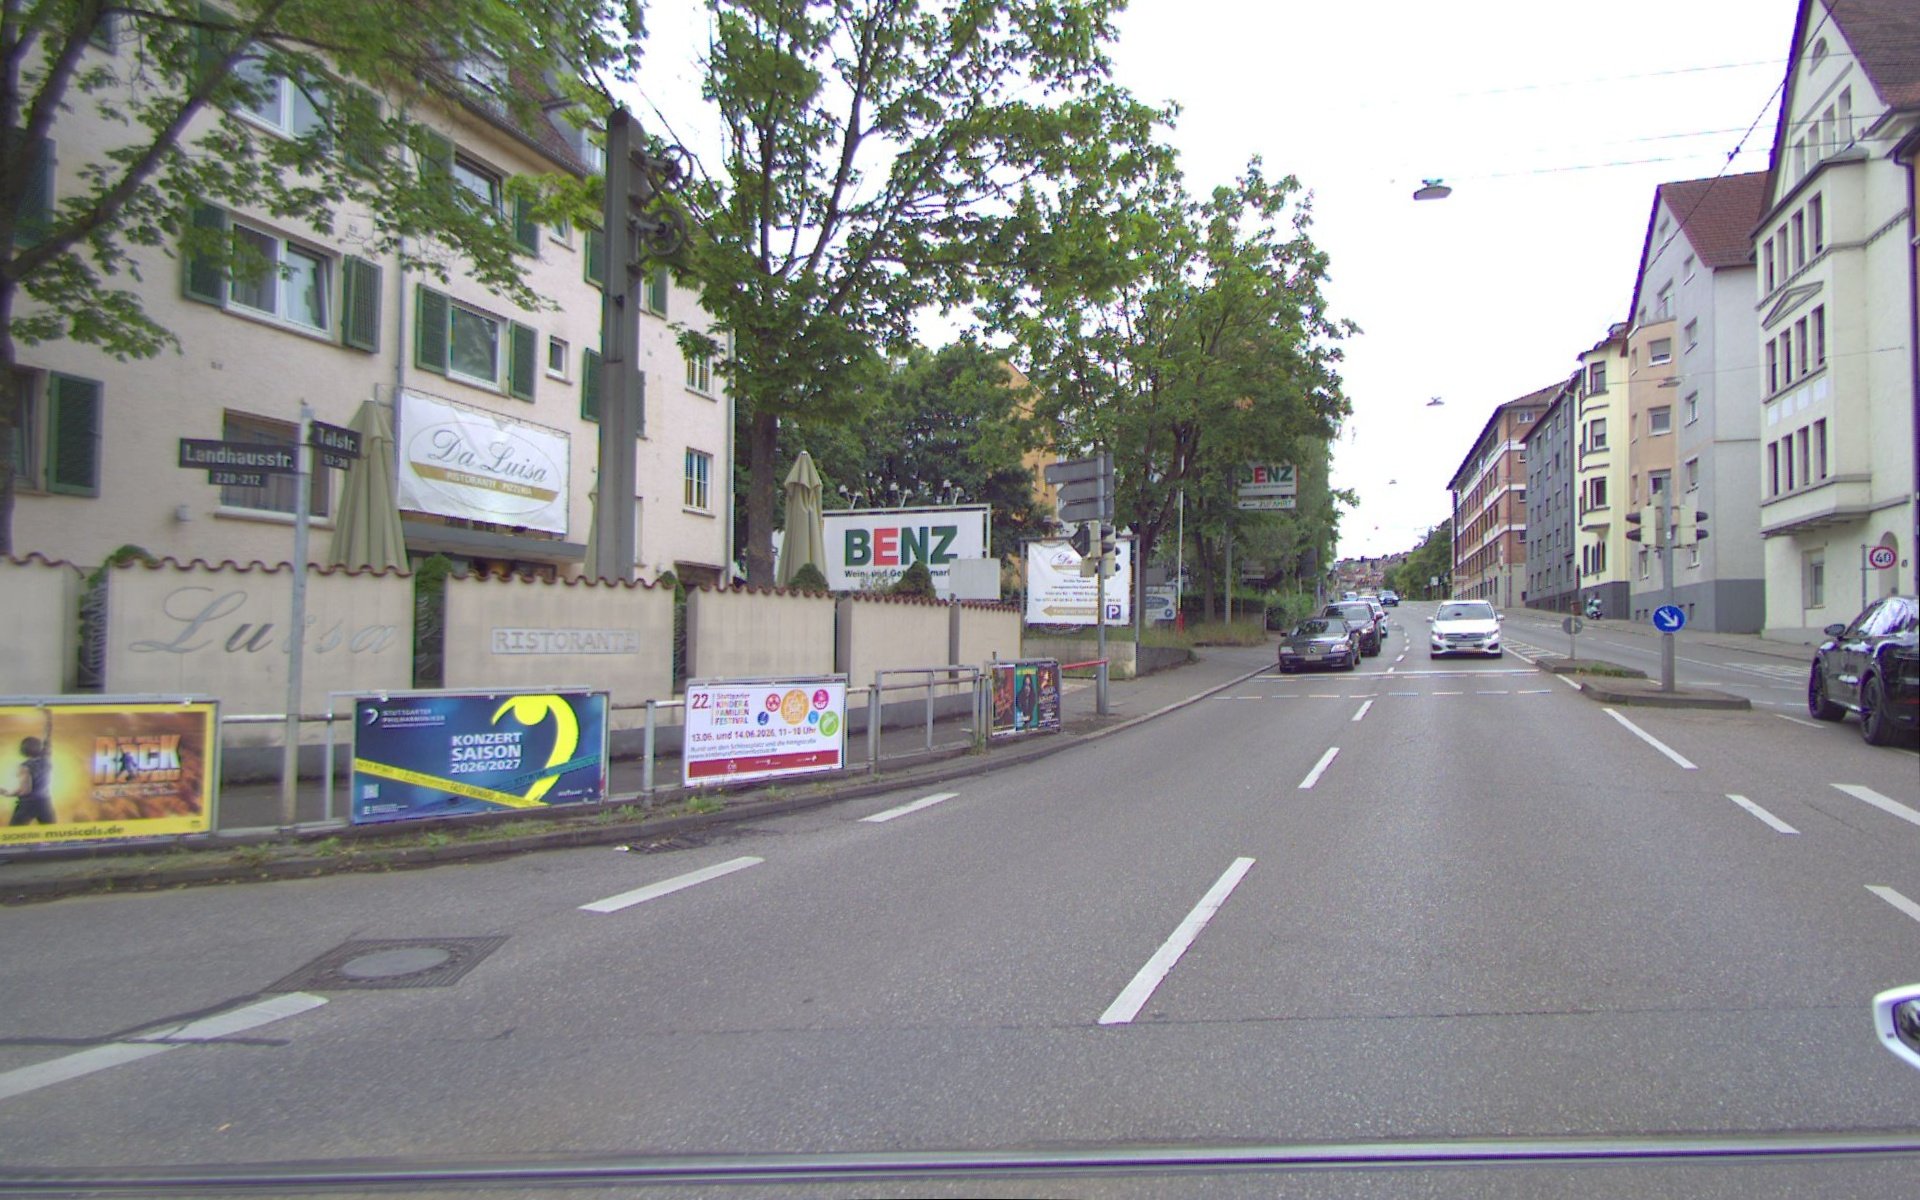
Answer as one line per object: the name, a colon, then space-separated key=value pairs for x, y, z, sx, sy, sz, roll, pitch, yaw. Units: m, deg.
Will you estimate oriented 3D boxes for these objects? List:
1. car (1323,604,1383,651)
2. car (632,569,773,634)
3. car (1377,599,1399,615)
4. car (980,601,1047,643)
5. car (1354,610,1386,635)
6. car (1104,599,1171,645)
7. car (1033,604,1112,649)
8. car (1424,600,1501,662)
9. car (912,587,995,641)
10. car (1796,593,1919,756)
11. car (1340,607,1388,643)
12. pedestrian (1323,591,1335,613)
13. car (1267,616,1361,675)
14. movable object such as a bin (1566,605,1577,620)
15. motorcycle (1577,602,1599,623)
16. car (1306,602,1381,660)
car: x=15.259 y=1.030 z=38.896 sx=1.921 sy=1.614 sz=4.495 roll=-3 pitch=-1 yaw=24
car: x=-7.933 y=0.026 z=31.484 sx=2.025 sy=1.828 sz=4.910 roll=1 pitch=0 yaw=17
car: x=42.746 y=0.698 z=100.315 sx=1.809 sy=1.467 sz=4.309 roll=-2 pitch=-1 yaw=21
car: x=2.120 y=0.823 z=38.906 sx=1.678 sy=1.429 sz=4.001 roll=3 pitch=1 yaw=16
car: x=26.306 y=1.415 z=64.586 sx=1.809 sy=1.467 sz=4.309 roll=-2 pitch=-1 yaw=21
car: x=6.624 y=0.763 z=37.230 sx=1.679 sy=1.521 sz=3.999 roll=3 pitch=1 yaw=21
car: x=4.252 y=0.936 z=37.378 sx=1.680 sy=1.521 sz=3.996 roll=3 pitch=1 yaw=25
car: x=14.344 y=0.824 z=28.543 sx=1.749 sy=1.567 sz=4.317 roll=-3 pitch=-1 yaw=29
car: x=-0.198 y=0.527 z=39.437 sx=1.795 sy=1.927 sz=3.998 roll=3 pitch=1 yaw=22
car: x=11.519 y=0.802 z=11.756 sx=1.995 sy=1.663 sz=4.346 roll=2 pitch=1 yaw=31
car: x=17.876 y=1.063 z=44.429 sx=1.810 sy=1.431 sz=4.072 roll=-3 pitch=-1 yaw=22
pedestrian: x=33.279 y=0.192 z=90.548 sx=0.868 sy=1.976 sz=0.867 roll=3 pitch=2 yaw=21
car: x=9.236 y=1.138 z=25.989 sx=1.774 sy=1.298 sz=4.231 roll=-3 pitch=-1 yaw=26
movable object such as a bin: x=38.997 y=0.780 z=64.063 sx=0.467 sy=0.904 sz=0.516 roll=-3 pitch=-1 yaw=21
motorcycle: x=36.125 y=0.704 z=57.799 sx=0.528 sy=1.171 sz=2.226 roll=-3 pitch=-1 yaw=18
car: x=12.289 y=0.935 z=32.052 sx=1.921 sy=1.664 sz=4.410 roll=-3 pitch=-1 yaw=24
